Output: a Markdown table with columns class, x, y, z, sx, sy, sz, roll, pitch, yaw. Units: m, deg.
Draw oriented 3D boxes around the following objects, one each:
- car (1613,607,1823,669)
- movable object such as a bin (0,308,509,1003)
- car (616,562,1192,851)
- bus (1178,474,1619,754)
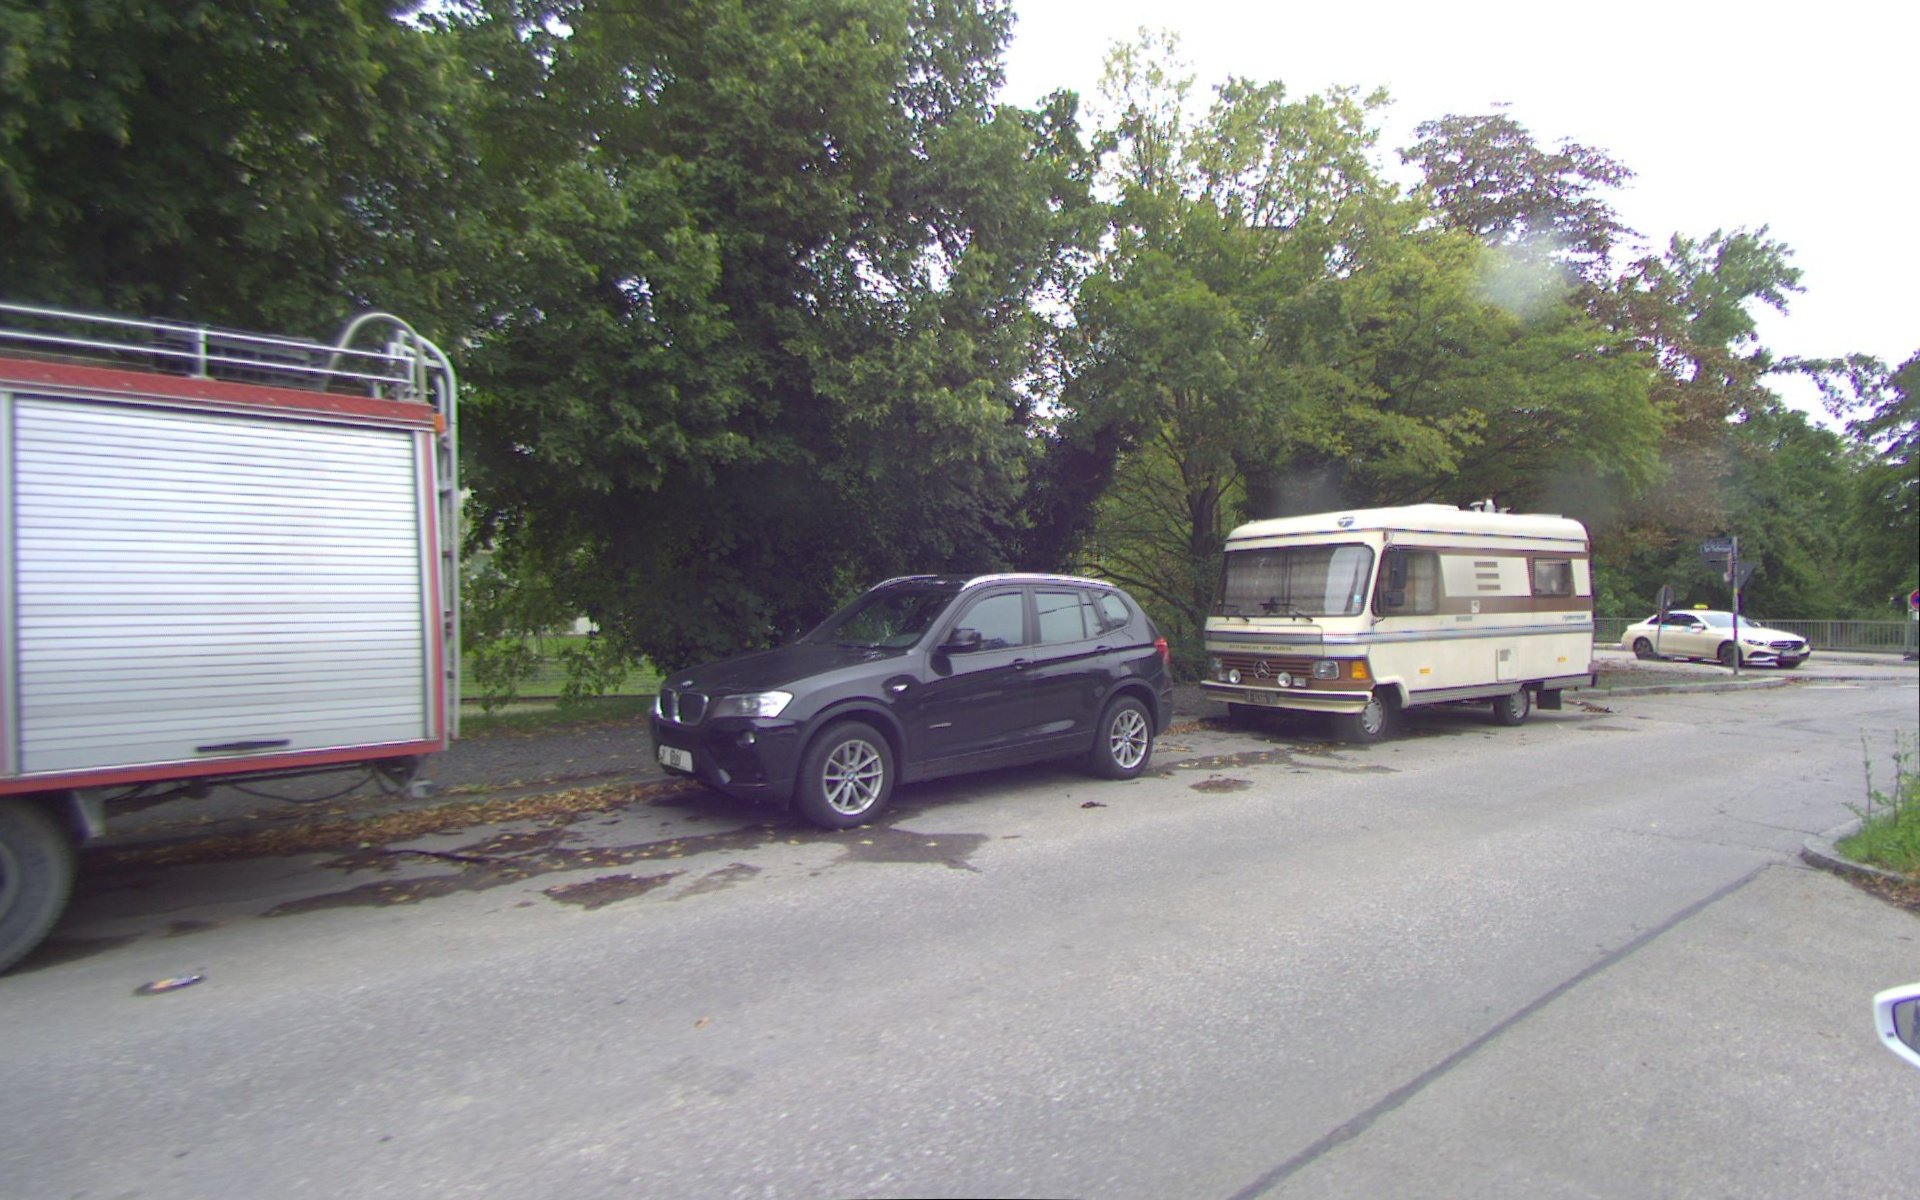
| class | x | y | z | sx | sy | sz | roll | pitch | yaw |
| --- | --- | --- | --- | --- | --- | --- | --- | --- | --- |
| car | 20.747 | 0.979 | 27.802 | 1.858 | 1.566 | 4.849 | 0 | 0 | -6 |
| movable object such as a bin | -5.127 | 0.200 | 3.572 | 6.134 | 2.491 | 2.087 | 0 | -1 | -39 |
| car | -0.214 | 0.637 | 7.933 | 4.425 | 1.671 | 1.760 | 0 | -1 | -41 |
| bus | 5.538 | 0.161 | 12.371 | 5.673 | 2.735 | 2.301 | 0 | -1 | -34 |
